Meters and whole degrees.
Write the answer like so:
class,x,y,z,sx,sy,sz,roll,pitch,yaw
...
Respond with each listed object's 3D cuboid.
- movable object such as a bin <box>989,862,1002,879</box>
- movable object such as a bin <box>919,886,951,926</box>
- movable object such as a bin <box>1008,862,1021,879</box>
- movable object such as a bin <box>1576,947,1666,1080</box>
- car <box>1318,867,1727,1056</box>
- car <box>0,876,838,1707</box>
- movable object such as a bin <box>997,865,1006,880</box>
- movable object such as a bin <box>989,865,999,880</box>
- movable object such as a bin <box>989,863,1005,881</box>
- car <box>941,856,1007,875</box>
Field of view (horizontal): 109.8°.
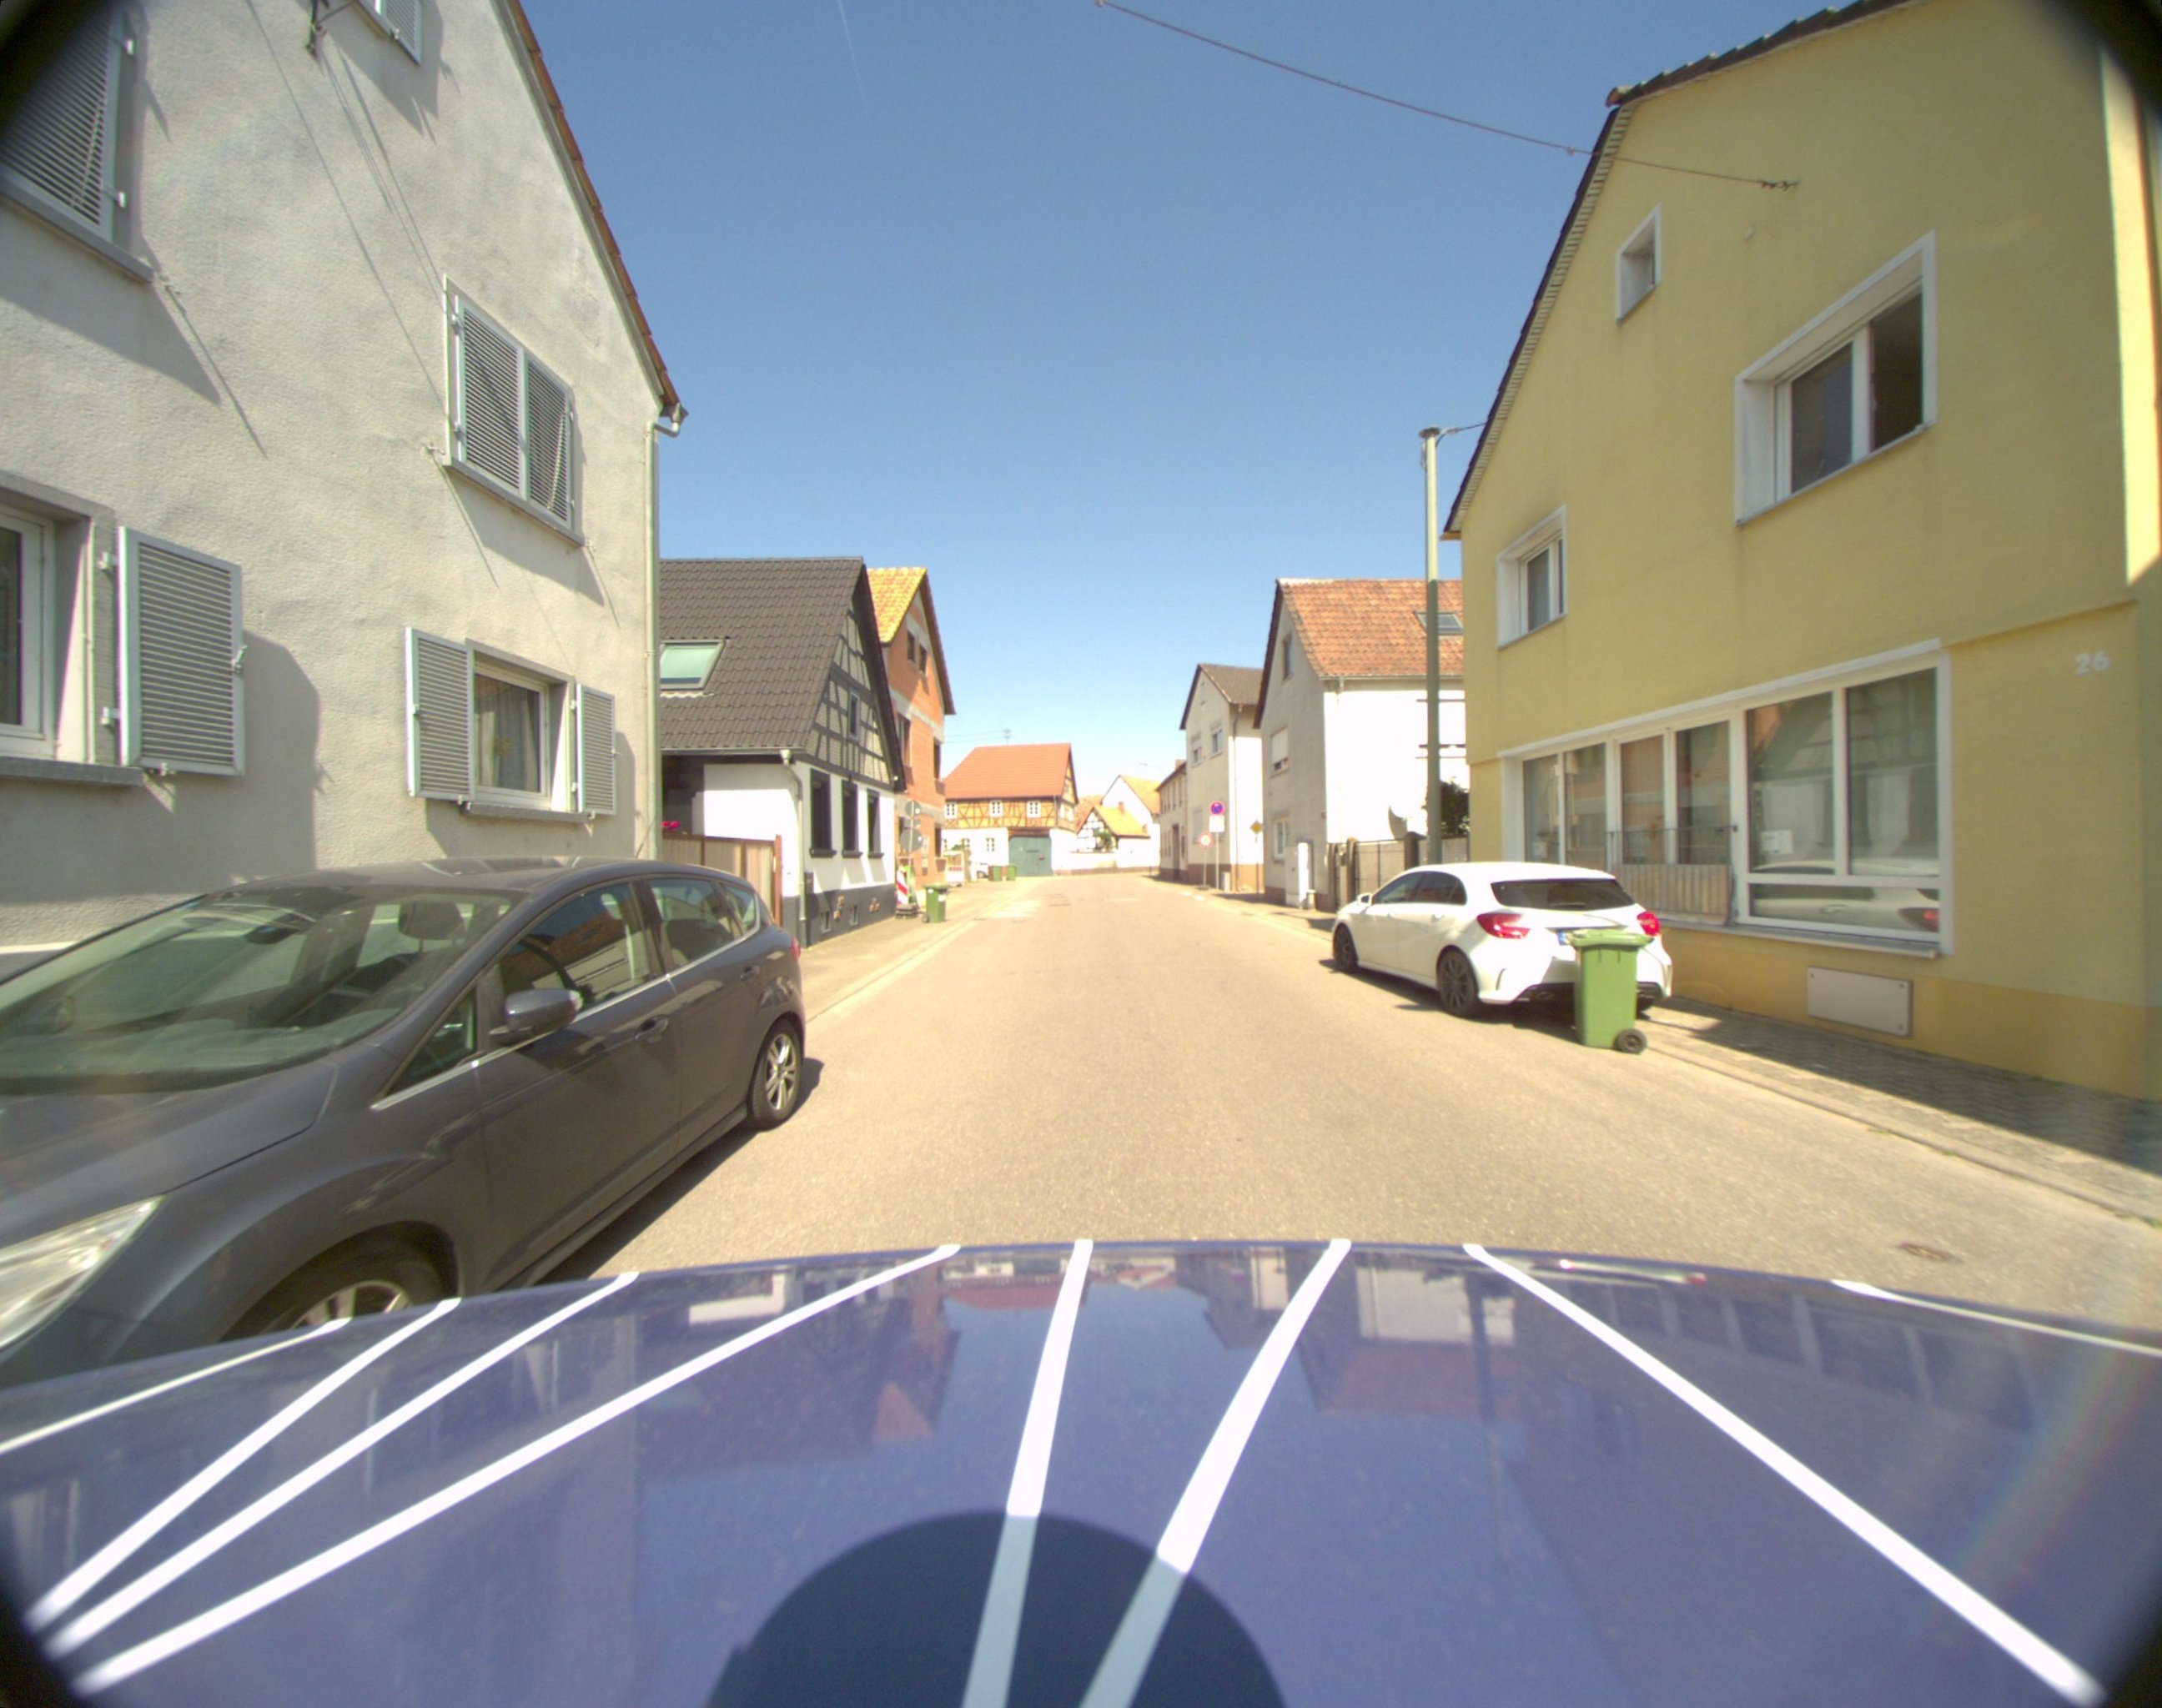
class,x,y,z,sx,sy,sz,roll,pitch,yaw
movable object such as a bin,-5.825,1.114,51.651,0.721,1.075,0.755,-1,0,5
movable object such as a bin,-3.497,1.241,18.164,0.538,0.908,0.552,-1,1,17
movable object such as a bin,-4.318,1.086,49.410,0.688,1.085,0.638,-1,0,8
movable object such as a bin,4.114,1.195,5.811,0.425,0.899,0.497,-1,1,18
car,4.275,0.910,8.323,1.840,1.455,4.269,0,0,-3
car,-2.658,0.944,3.040,1.802,1.551,4.631,-1,0,1
movable object such as a bin,-5.065,1.185,48.594,0.445,0.944,0.463,-1,1,9
movable object such as a bin,-5.561,1.175,48.551,0.466,0.965,0.496,-1,0,8
movable object such as a bin,-5.227,1.117,47.282,0.763,1.066,0.671,-1,0,-32
car,-8.503,0.939,60.395,4.760,1.443,2.002,0,0,11
